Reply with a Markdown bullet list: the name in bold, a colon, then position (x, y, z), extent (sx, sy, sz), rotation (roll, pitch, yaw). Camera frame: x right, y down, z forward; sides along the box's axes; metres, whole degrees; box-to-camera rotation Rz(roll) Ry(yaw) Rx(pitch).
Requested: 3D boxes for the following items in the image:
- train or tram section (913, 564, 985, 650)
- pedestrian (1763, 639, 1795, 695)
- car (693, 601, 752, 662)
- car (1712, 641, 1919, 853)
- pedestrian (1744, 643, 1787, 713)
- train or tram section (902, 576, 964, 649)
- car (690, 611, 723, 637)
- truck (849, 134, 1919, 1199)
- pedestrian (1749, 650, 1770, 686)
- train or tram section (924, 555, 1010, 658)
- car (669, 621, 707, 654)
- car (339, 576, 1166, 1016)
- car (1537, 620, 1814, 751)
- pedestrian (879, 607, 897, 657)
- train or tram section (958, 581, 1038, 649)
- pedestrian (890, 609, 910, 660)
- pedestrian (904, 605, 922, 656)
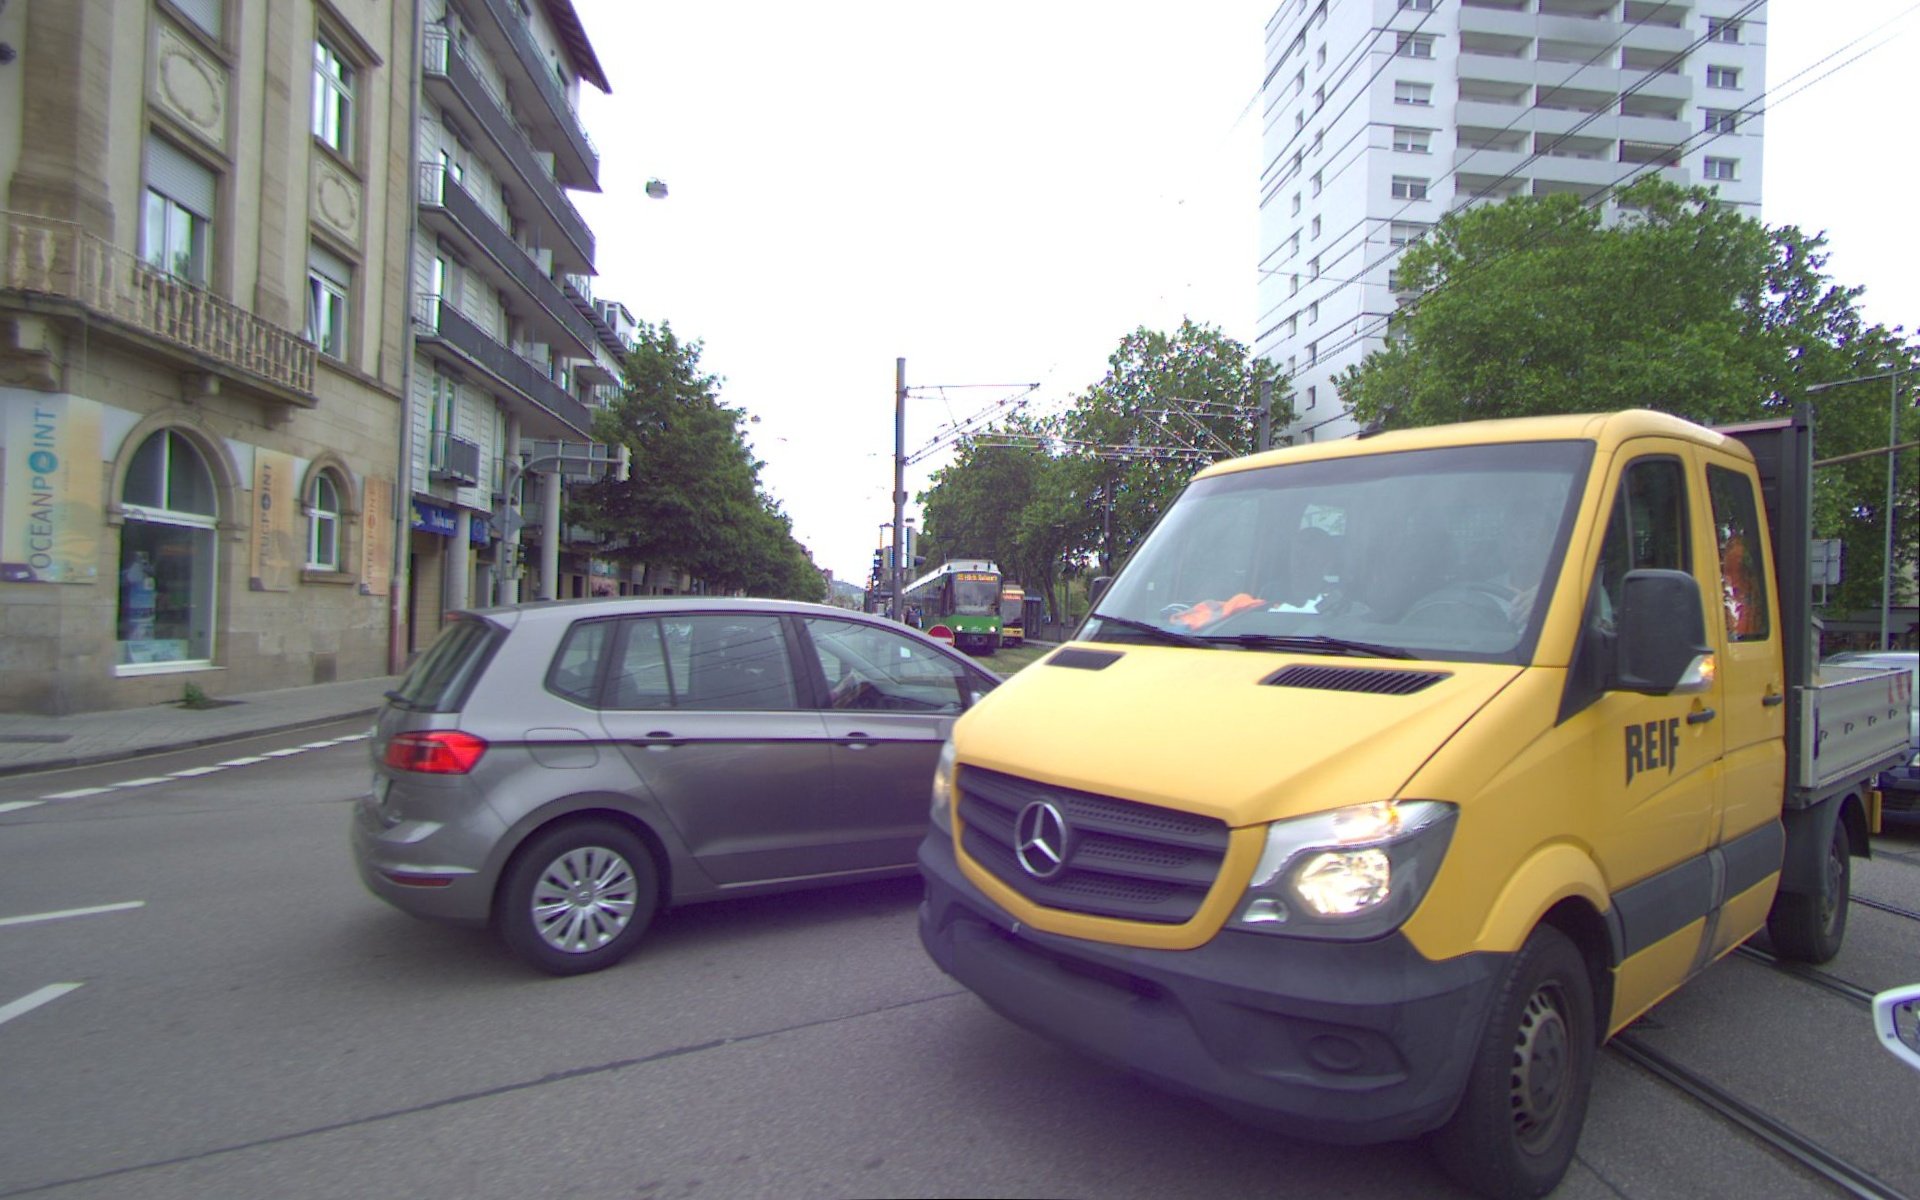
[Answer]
- **train or tram section**: position (-0.697, 0.390, 49.470), extent (2.636, 3.811, 8.292), rotation (2, -1, -6)
- **pedestrian**: position (26.956, 2.201, 33.050), extent (0.611, 1.808, 0.573), rotation (2, -1, -21)
- **car**: position (-8.254, 1.064, 35.194), extent (1.659, 1.939, 3.994), rotation (2, -1, -9)
- **car**: position (8.390, 1.176, 8.853), extent (3.865, 1.509, 1.656), rotation (3, -1, -34)
- **pedestrian**: position (21.323, 2.053, 26.596), extent (0.499, 1.808, 0.699), rotation (2, -1, -23)
- **train or tram section**: position (-1.737, 0.740, 59.056), extent (2.636, 3.811, 11.052), rotation (2, -1, -6)
- **car**: position (-16.218, 1.515, 64.468), extent (1.659, 1.600, 3.994), rotation (2, -1, -9)
- **truck**: position (2.373, 0.396, 4.472), extent (5.414, 2.440, 2.059), rotation (2, -2, -38)
- **pedestrian**: position (36.040, 3.067, 45.294), extent (0.611, 1.565, 0.421), rotation (2, -1, -7)
- **train or tram section**: position (0.150, 0.300, 41.764), extent (2.636, 3.811, 7.255), rotation (2, -1, -6)
- **car**: position (-14.280, 1.951, 52.758), extent (1.785, 1.545, 3.987), rotation (3, -1, -16)
- **car**: position (-0.948, 0.760, 5.369), extent (3.958, 1.545, 1.722), rotation (2, -1, -34)
- **car**: position (11.948, 1.354, 16.670), extent (5.167, 1.850, 1.857), rotation (3, -1, -31)
- **pedestrian**: position (-2.745, 1.223, 38.465), extent (0.605, 1.889, 0.481), rotation (2, -1, -6)
- **train or tram section**: position (1.913, 0.879, 57.056), extent (2.574, 3.342, 13.002), rotation (2, -1, -6)
- **pedestrian**: position (-1.941, 1.102, 32.338), extent (0.577, 1.624, 0.733), rotation (2, -1, -6)
- **pedestrian**: position (-1.743, 1.128, 37.378), extent (0.577, 1.889, 0.733), rotation (2, -1, -6)
